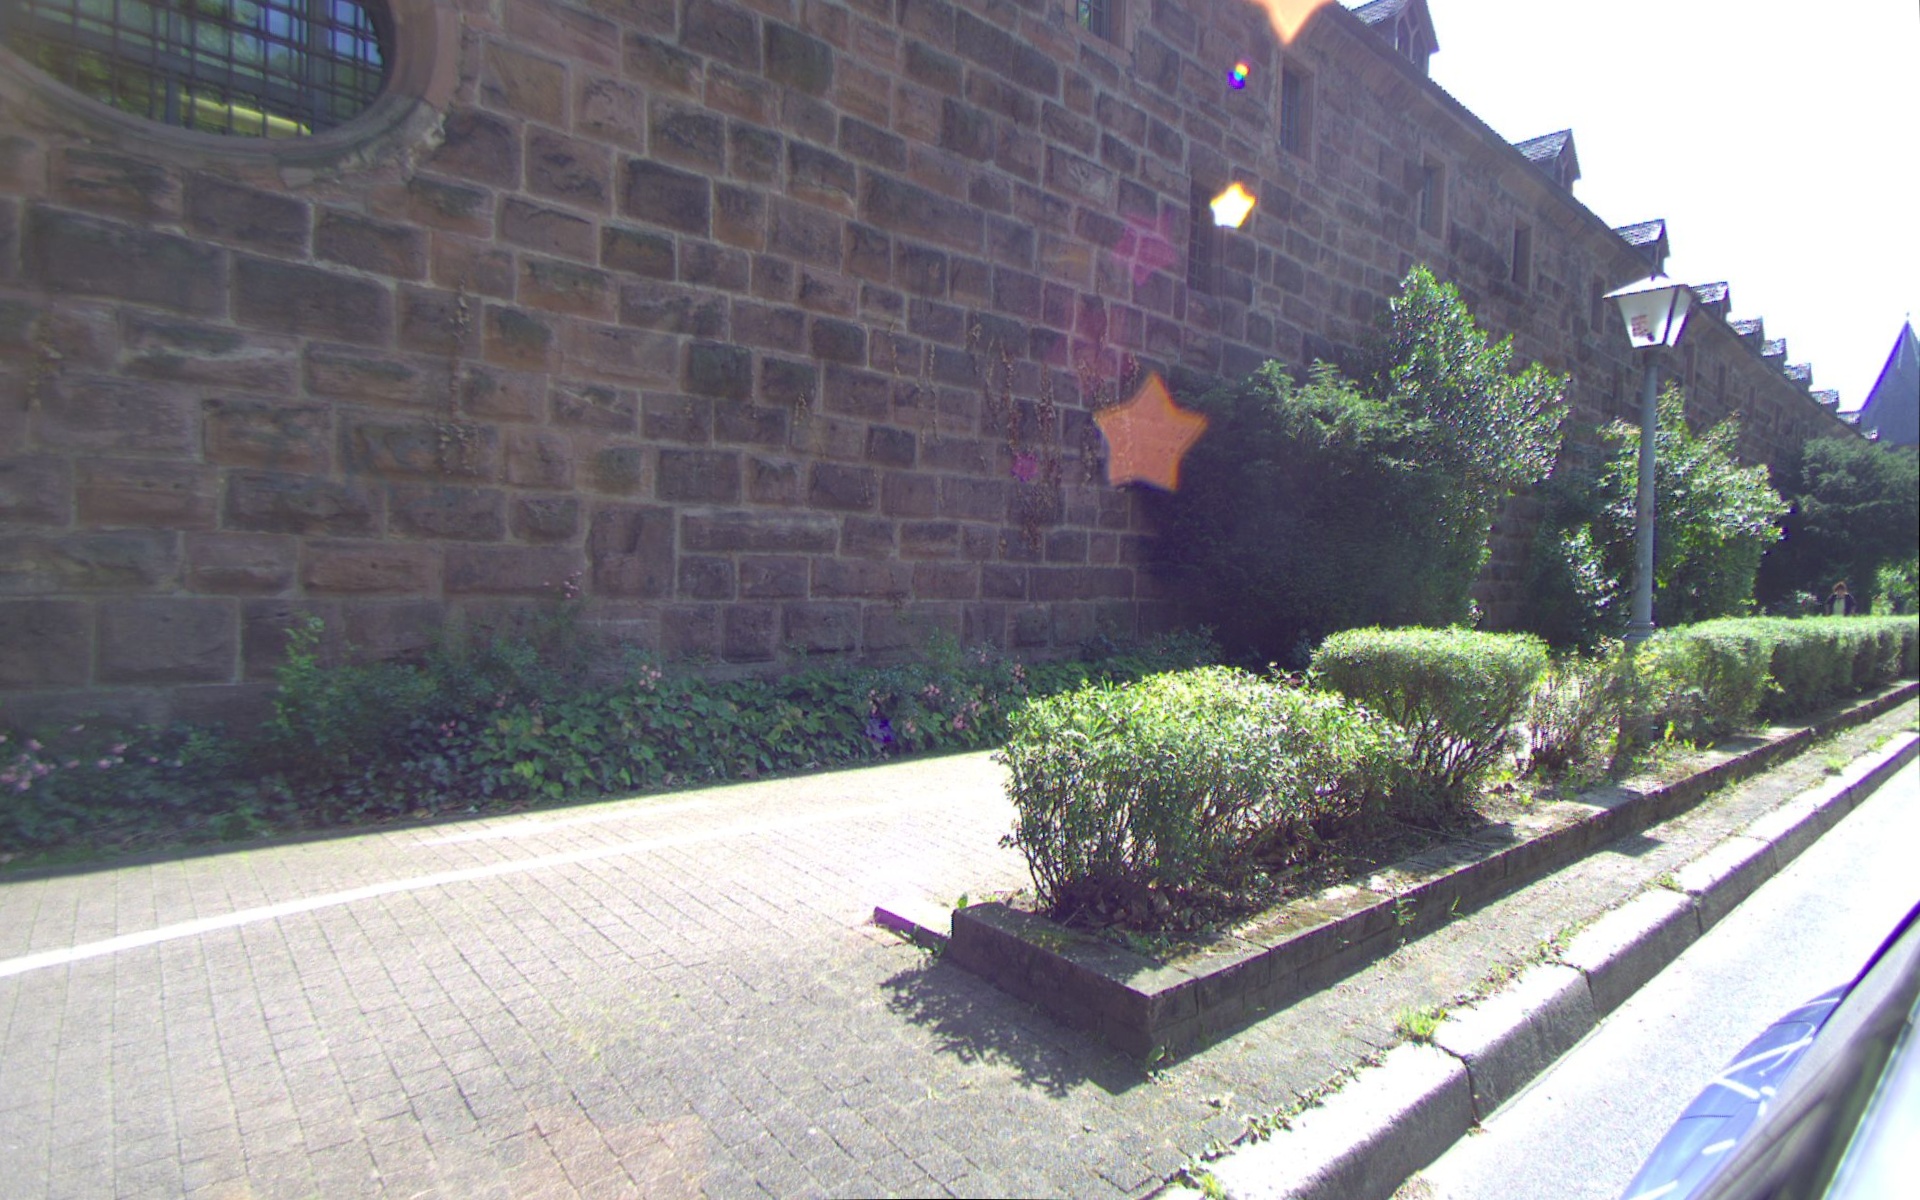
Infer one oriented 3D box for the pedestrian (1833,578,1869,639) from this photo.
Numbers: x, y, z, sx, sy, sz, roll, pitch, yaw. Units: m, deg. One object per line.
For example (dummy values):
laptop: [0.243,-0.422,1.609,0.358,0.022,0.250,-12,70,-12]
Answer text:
pedestrian: [23.507,0.209,26.705,0.554,1.583,0.642,0,0,-41]
